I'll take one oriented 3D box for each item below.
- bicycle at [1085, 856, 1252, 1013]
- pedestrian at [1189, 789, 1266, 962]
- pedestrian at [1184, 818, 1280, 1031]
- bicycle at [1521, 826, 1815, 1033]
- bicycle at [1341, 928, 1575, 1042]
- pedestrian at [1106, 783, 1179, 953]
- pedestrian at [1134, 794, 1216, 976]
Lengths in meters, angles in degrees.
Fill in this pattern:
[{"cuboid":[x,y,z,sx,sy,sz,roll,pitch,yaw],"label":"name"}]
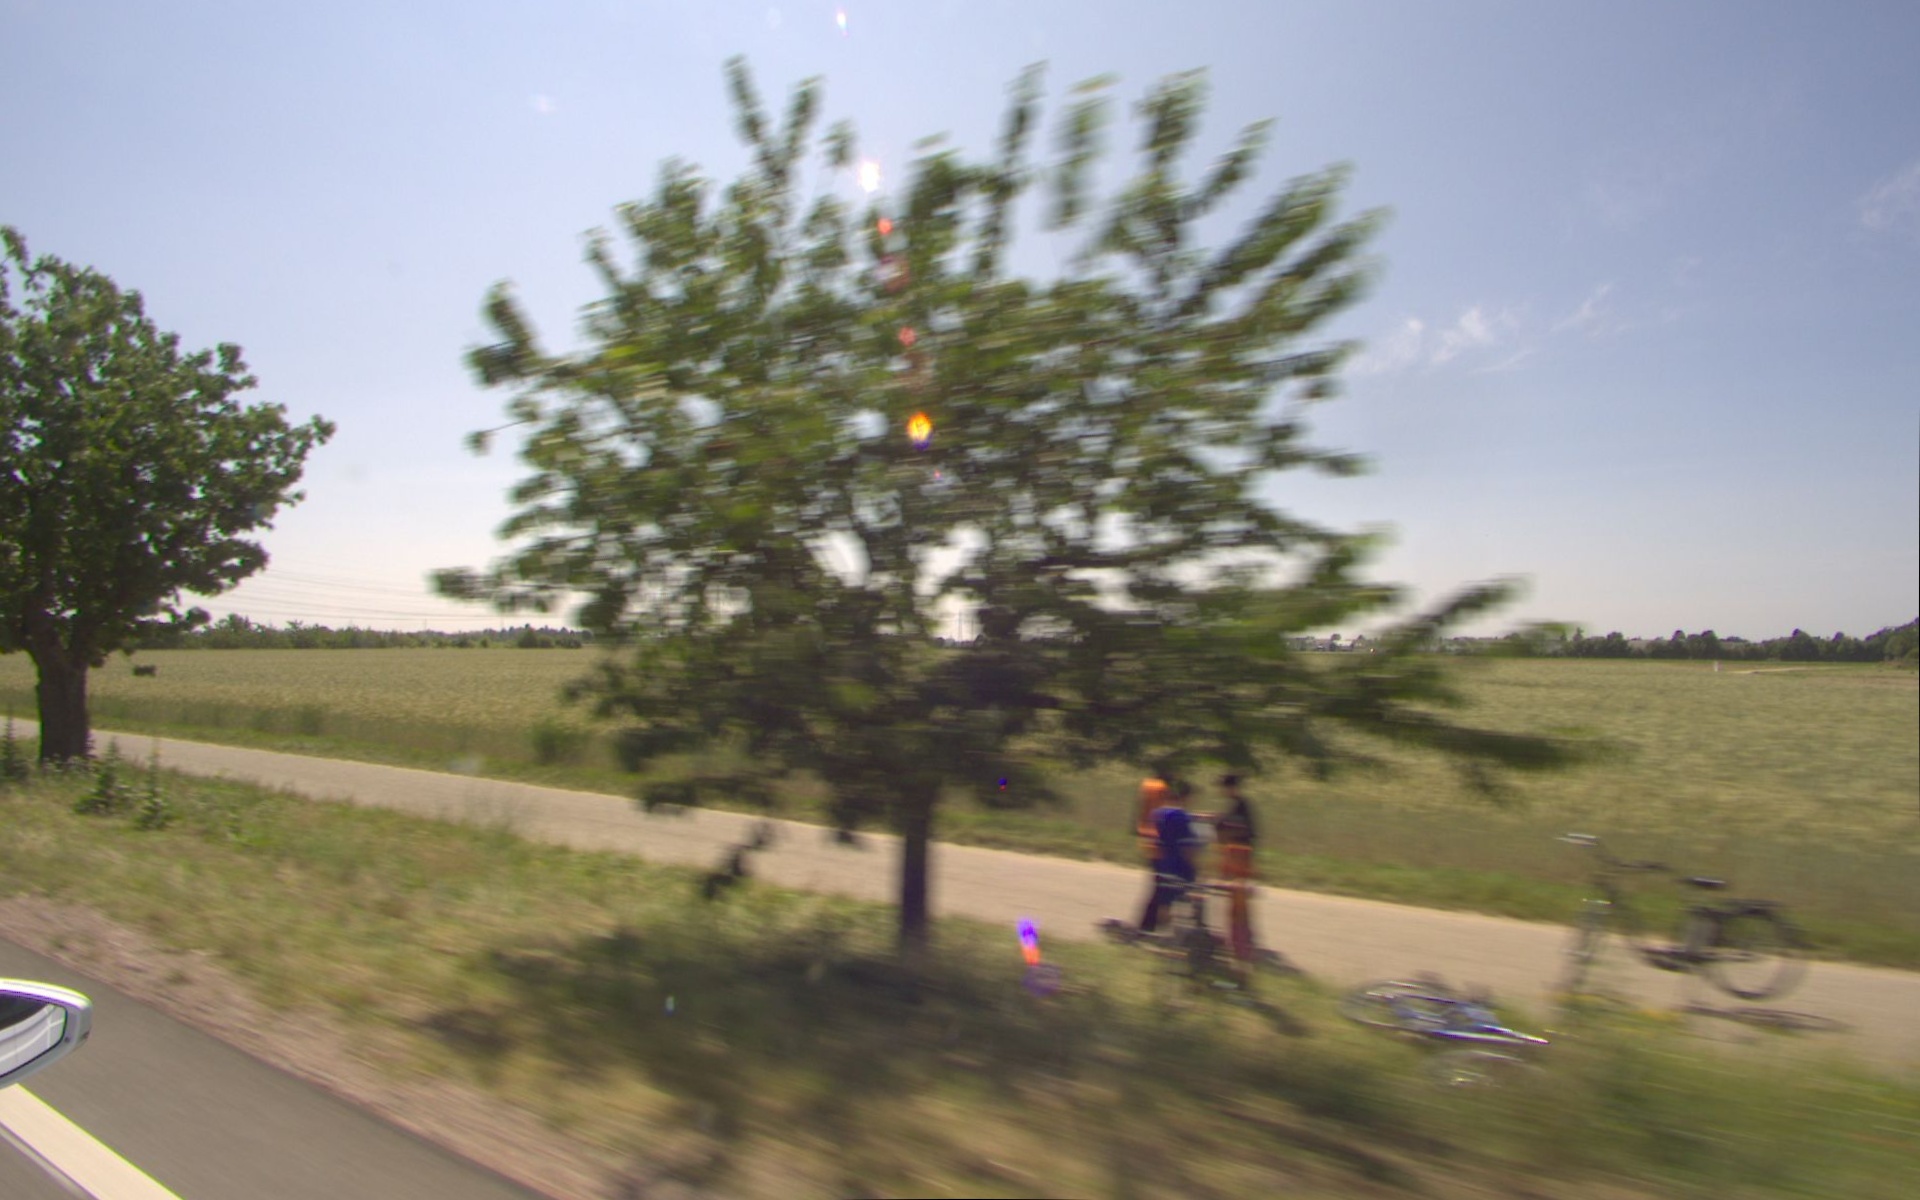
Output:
[{"cuboid":[1.482,2.343,7.112,1.100,0.871,0.441,1,-1,-21],"label":"bicycle"},{"cuboid":[2.231,2.279,8.376,0.478,1.312,0.442,1,-1,-13],"label":"pedestrian"},{"cuboid":[1.881,2.217,6.942,0.478,1.312,0.441,1,-1,-17],"label":"pedestrian"},{"cuboid":[5.018,2.318,7.197,1.652,1.180,0.476,0,-1,17],"label":"bicycle"},{"cuboid":[3.201,2.497,6.593,0.995,0.285,1.233,0,-2,5],"label":"bicycle"},{"cuboid":[1.562,2.275,8.597,0.478,1.331,0.441,1,-1,-15],"label":"pedestrian"},{"cuboid":[1.727,2.269,8.068,0.479,1.312,0.440,1,-1,-25],"label":"pedestrian"}]
